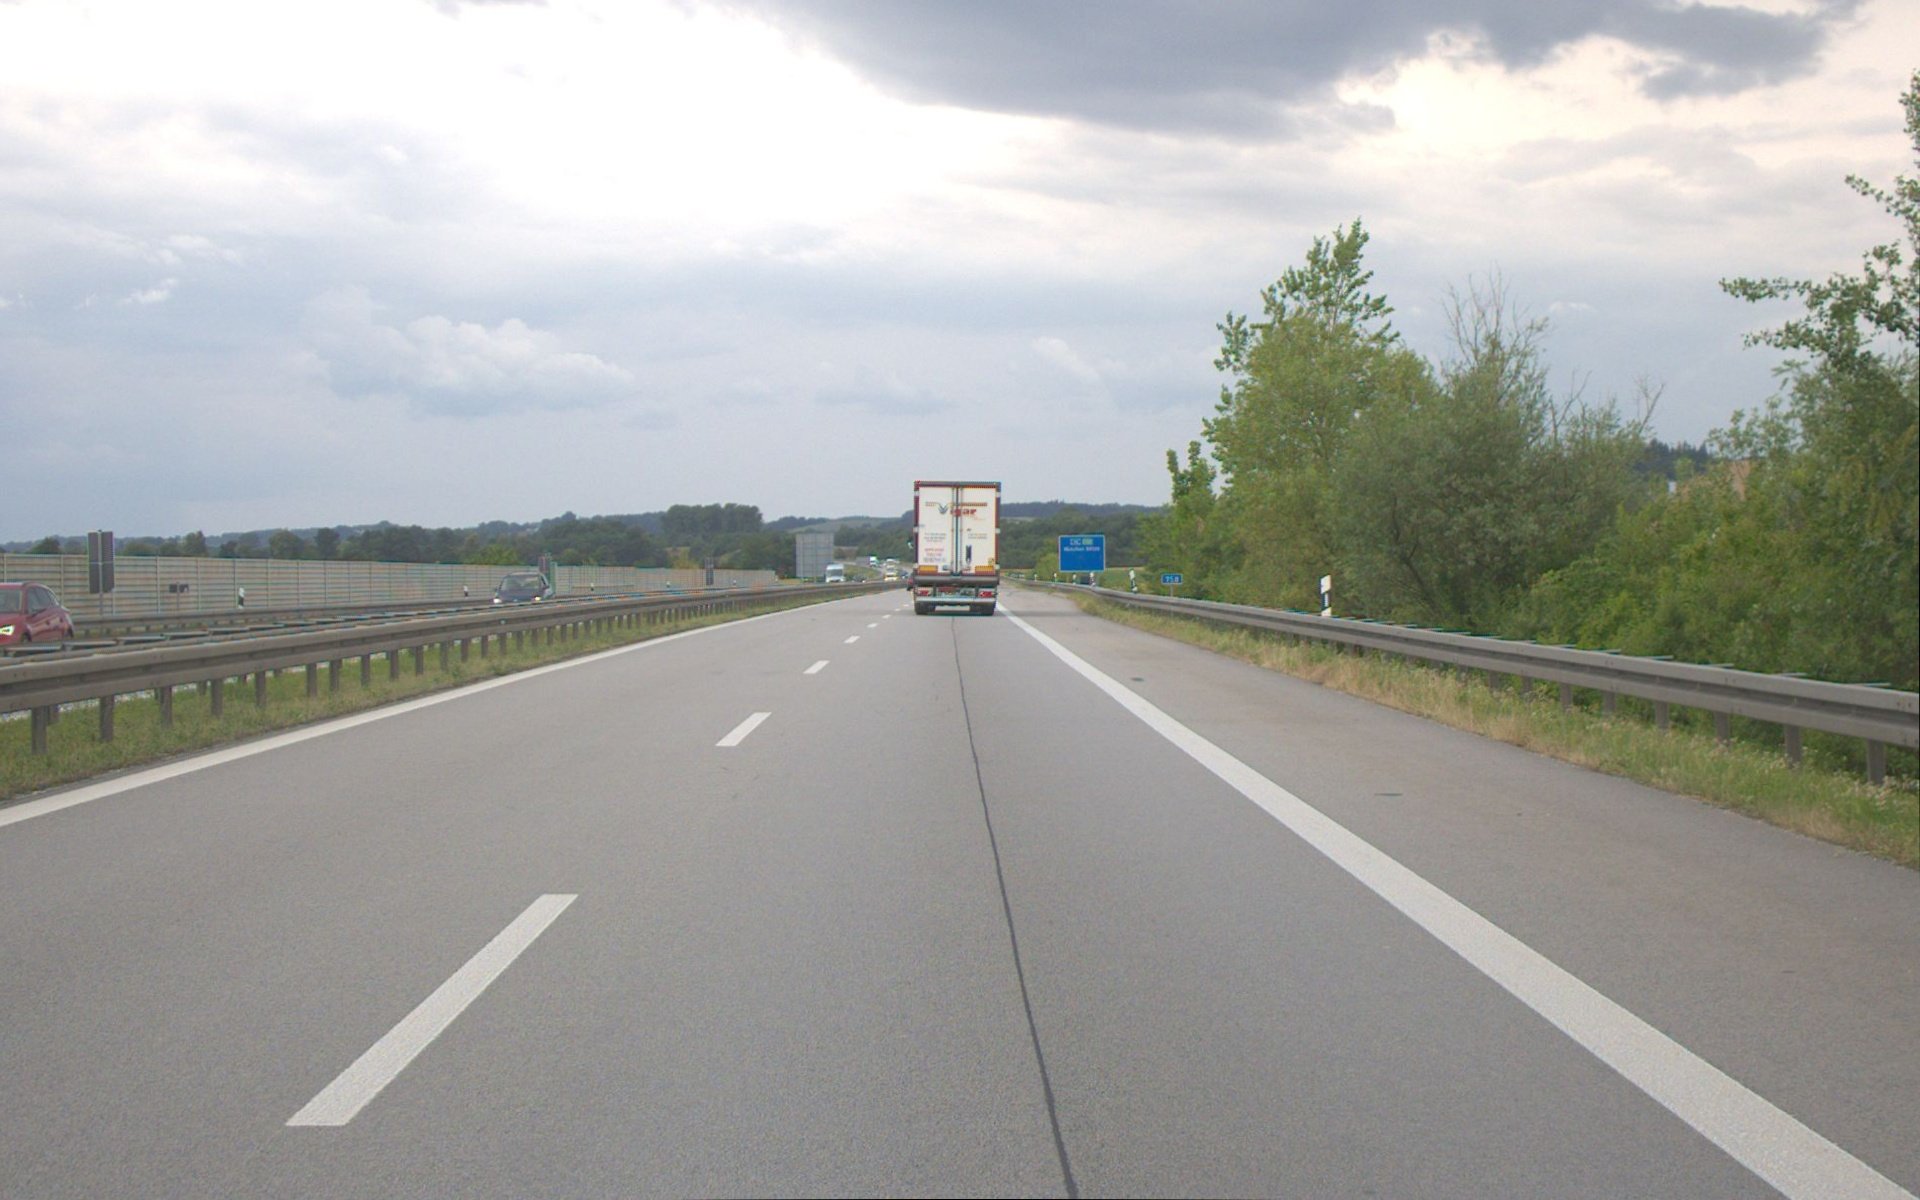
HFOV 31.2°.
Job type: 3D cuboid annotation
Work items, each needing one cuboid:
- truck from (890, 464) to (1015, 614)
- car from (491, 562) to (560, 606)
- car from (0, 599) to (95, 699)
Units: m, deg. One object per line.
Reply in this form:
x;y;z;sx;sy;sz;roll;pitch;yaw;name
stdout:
-0.316;-1.897;110.158;3.672;4.397;16.342;0;1;-1;truck
-14.522;-0.560;115.108;1.658;1.324;4.609;-4;1;0;car
-14.902;0.738;53.153;1.818;1.398;4.877;-1;1;0;car
